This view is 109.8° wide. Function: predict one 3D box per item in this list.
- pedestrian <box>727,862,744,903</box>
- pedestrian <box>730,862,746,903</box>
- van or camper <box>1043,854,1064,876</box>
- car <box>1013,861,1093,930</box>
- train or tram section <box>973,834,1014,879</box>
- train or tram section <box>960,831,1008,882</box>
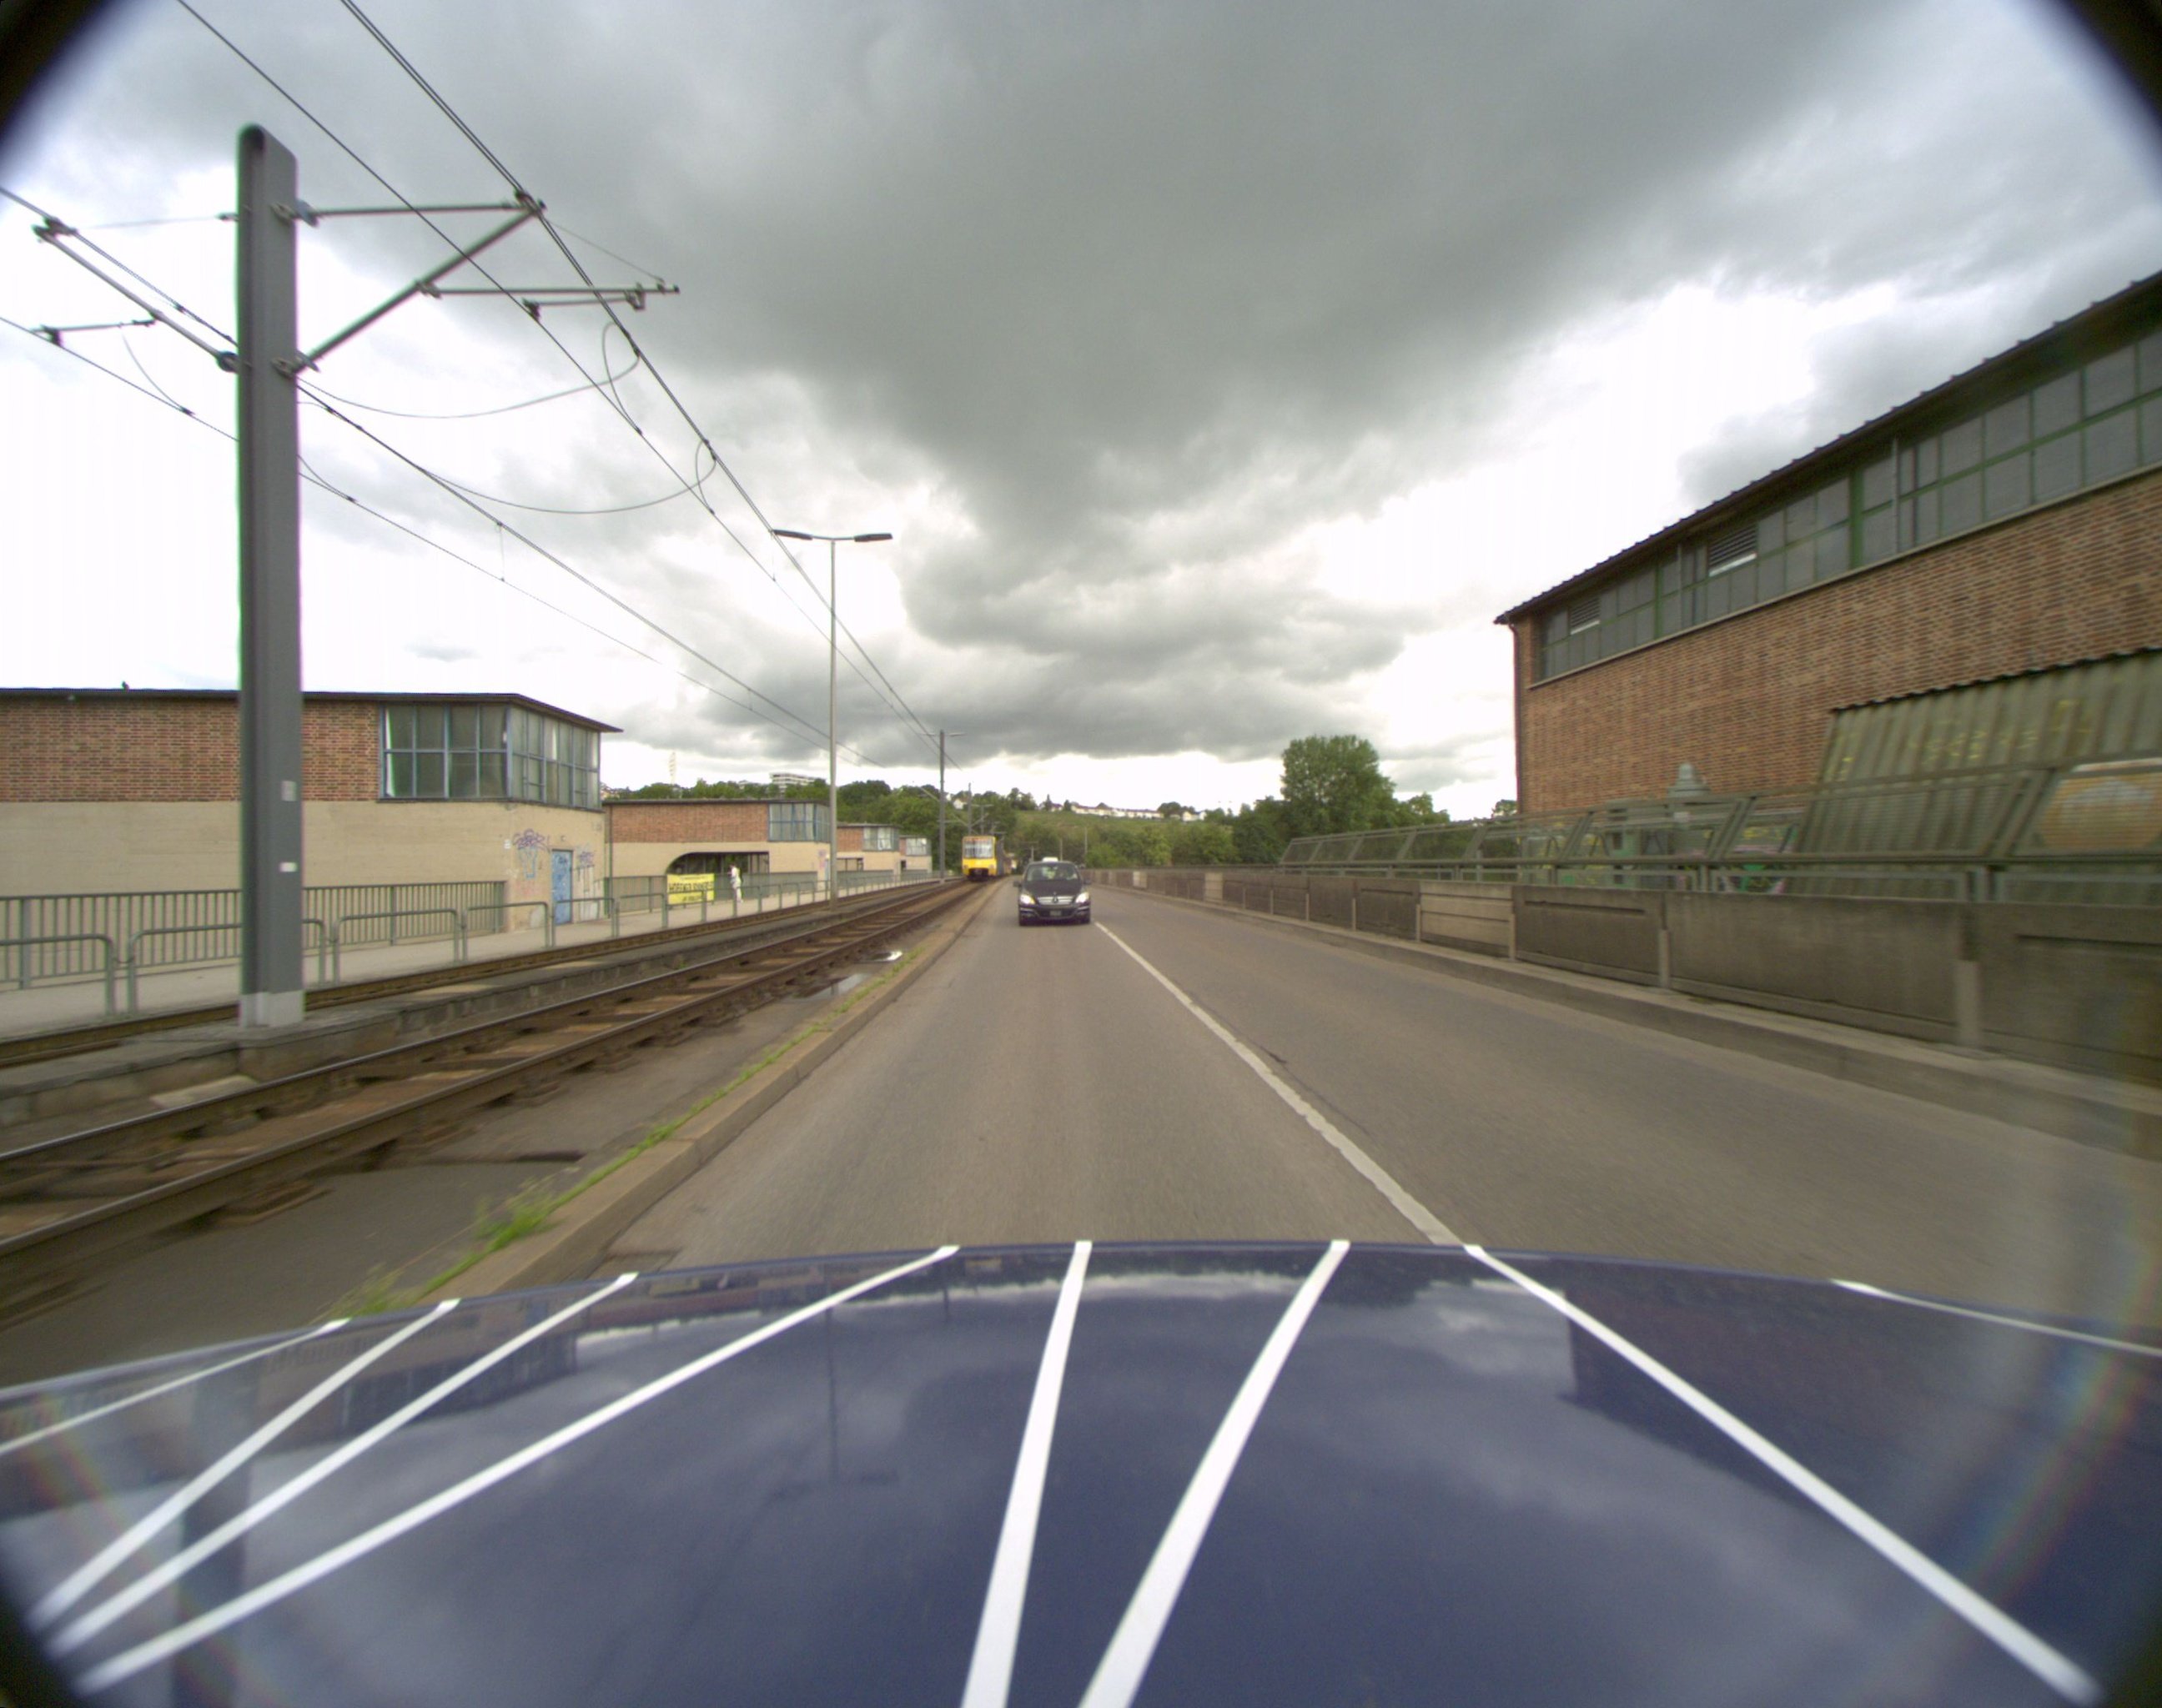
[{"bbox_3d":[-14.040,1.166,30.863,0.511,1.655,0.352,-1,0,-9],"label":"pedestrian"},{"bbox_3d":[-14.102,1.176,31.256,0.511,1.655,0.352,-1,0,-9],"label":"pedestrian"},{"bbox_3d":[-3.273,1.291,88.798,2.157,2.460,4.709,-2,-1,-5],"label":"van or camper"},{"bbox_3d":[-0.726,1.006,19.809,1.861,1.612,4.000,-1,-1,-2],"label":"car"},{"bbox_3d":[-8.202,0.257,72.446,3.031,3.895,9.441,-1,0,-2],"label":"train or tram section"},{"bbox_3d":[-7.896,0.201,63.011,3.031,3.895,9.441,-1,0,-2],"label":"train or tram section"}]
